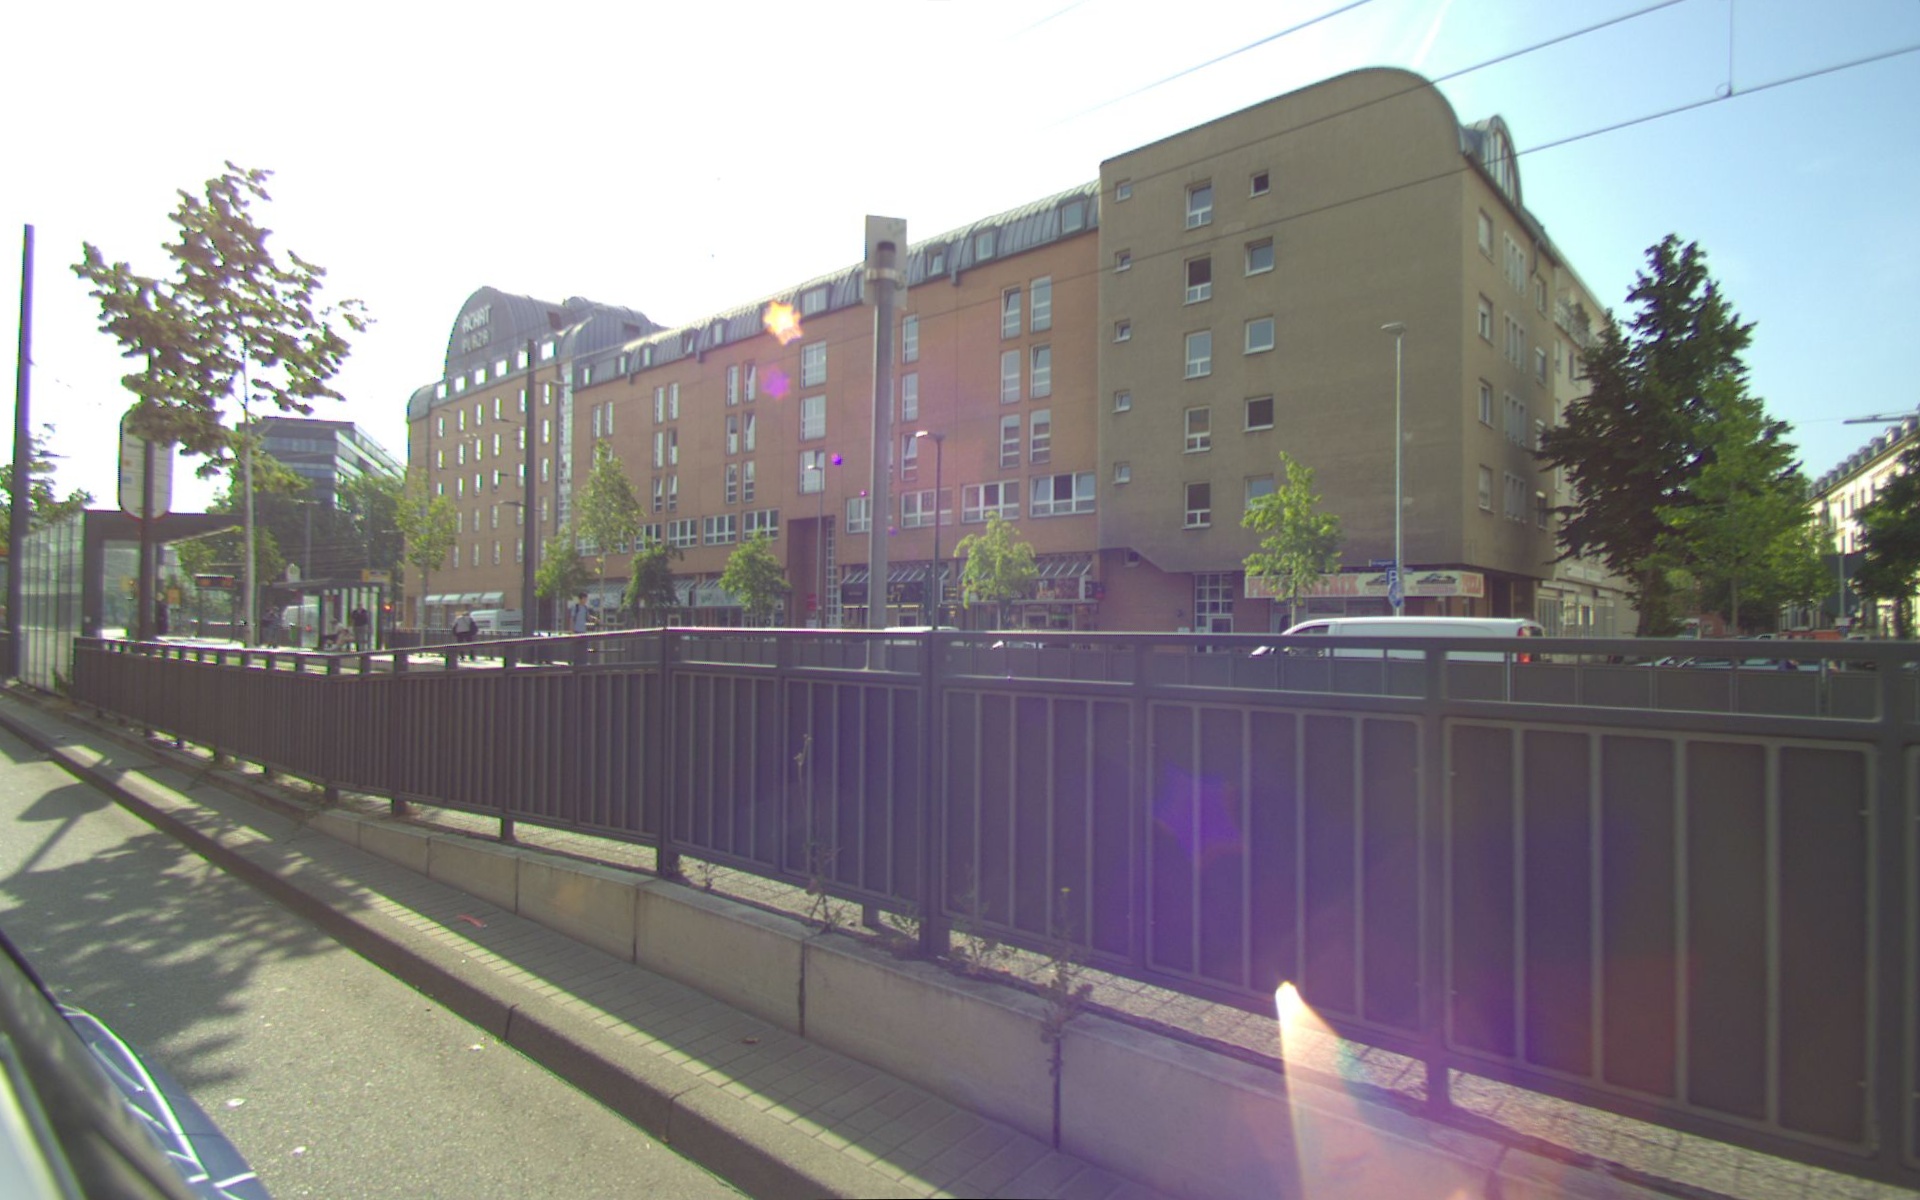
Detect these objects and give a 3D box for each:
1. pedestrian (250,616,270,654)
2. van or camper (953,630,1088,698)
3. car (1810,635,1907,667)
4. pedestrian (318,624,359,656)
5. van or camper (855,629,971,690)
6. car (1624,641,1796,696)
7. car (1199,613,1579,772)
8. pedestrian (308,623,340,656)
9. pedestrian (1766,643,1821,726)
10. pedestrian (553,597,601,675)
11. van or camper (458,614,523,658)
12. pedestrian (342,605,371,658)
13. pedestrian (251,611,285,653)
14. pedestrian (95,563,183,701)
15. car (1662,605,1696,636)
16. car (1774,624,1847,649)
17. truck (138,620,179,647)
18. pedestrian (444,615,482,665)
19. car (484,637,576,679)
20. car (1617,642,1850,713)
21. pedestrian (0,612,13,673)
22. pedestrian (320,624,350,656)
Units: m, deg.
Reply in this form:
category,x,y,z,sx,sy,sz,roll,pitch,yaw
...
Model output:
category,x,y,z,sx,sy,sz,roll,pitch,yaw
pedestrian,-33.365,1.667,48.238,0.698,1.774,0.644,-1,0,42
van or camper,1.852,1.941,31.787,1.907,1.983,4.003,2,-3,-44
car,53.037,2.989,59.824,3.989,1.807,1.977,-1,-2,34
pedestrian,-24.072,1.553,39.206,0.675,1.255,1.141,-1,-3,41
van or camper,-1.690,2.032,35.653,1.970,2.029,4.003,2,-3,-43
car,22.349,1.991,30.238,3.996,1.519,1.974,-1,-3,39
car,6.311,1.254,15.297,4.929,2.029,1.973,-1,-3,41
pedestrian,-25.873,1.596,41.180,0.808,1.324,0.860,-1,-3,38
pedestrian,16.496,1.650,20.046,0.807,1.595,0.671,-1,-3,38
pedestrian,-9.498,0.898,25.094,0.939,1.886,0.731,-1,-3,42
van or camper,-31.683,2.424,68.230,5.351,2.823,1.972,-1,-3,42
pedestrian,-22.060,1.150,36.991,0.794,1.901,0.556,2,-2,-39
pedestrian,-29.876,1.382,43.688,0.825,1.760,0.784,1,-3,5
pedestrian,-12.630,0.465,15.563,1.027,2.029,0.825,-1,0,38
car,71.612,2.099,100.874,2.581,2.928,5.920,-1,-3,34
car,65.196,2.795,77.677,4.054,1.863,1.953,-1,-2,34
truck,-118.479,4.948,149.512,12.365,3.805,3.124,-1,-3,45
pedestrian,-15.581,1.247,31.707,0.803,1.542,0.676,0,-2,11
car,-19.697,2.613,46.322,4.628,1.819,1.973,-1,-3,40
car,19.497,1.896,25.752,4.548,1.612,1.747,-1,-3,37
pedestrian,-28.148,1.233,29.512,0.726,1.771,0.666,-1,0,41
pedestrian,-24.554,1.565,39.772,0.675,1.255,0.783,-1,-3,41
